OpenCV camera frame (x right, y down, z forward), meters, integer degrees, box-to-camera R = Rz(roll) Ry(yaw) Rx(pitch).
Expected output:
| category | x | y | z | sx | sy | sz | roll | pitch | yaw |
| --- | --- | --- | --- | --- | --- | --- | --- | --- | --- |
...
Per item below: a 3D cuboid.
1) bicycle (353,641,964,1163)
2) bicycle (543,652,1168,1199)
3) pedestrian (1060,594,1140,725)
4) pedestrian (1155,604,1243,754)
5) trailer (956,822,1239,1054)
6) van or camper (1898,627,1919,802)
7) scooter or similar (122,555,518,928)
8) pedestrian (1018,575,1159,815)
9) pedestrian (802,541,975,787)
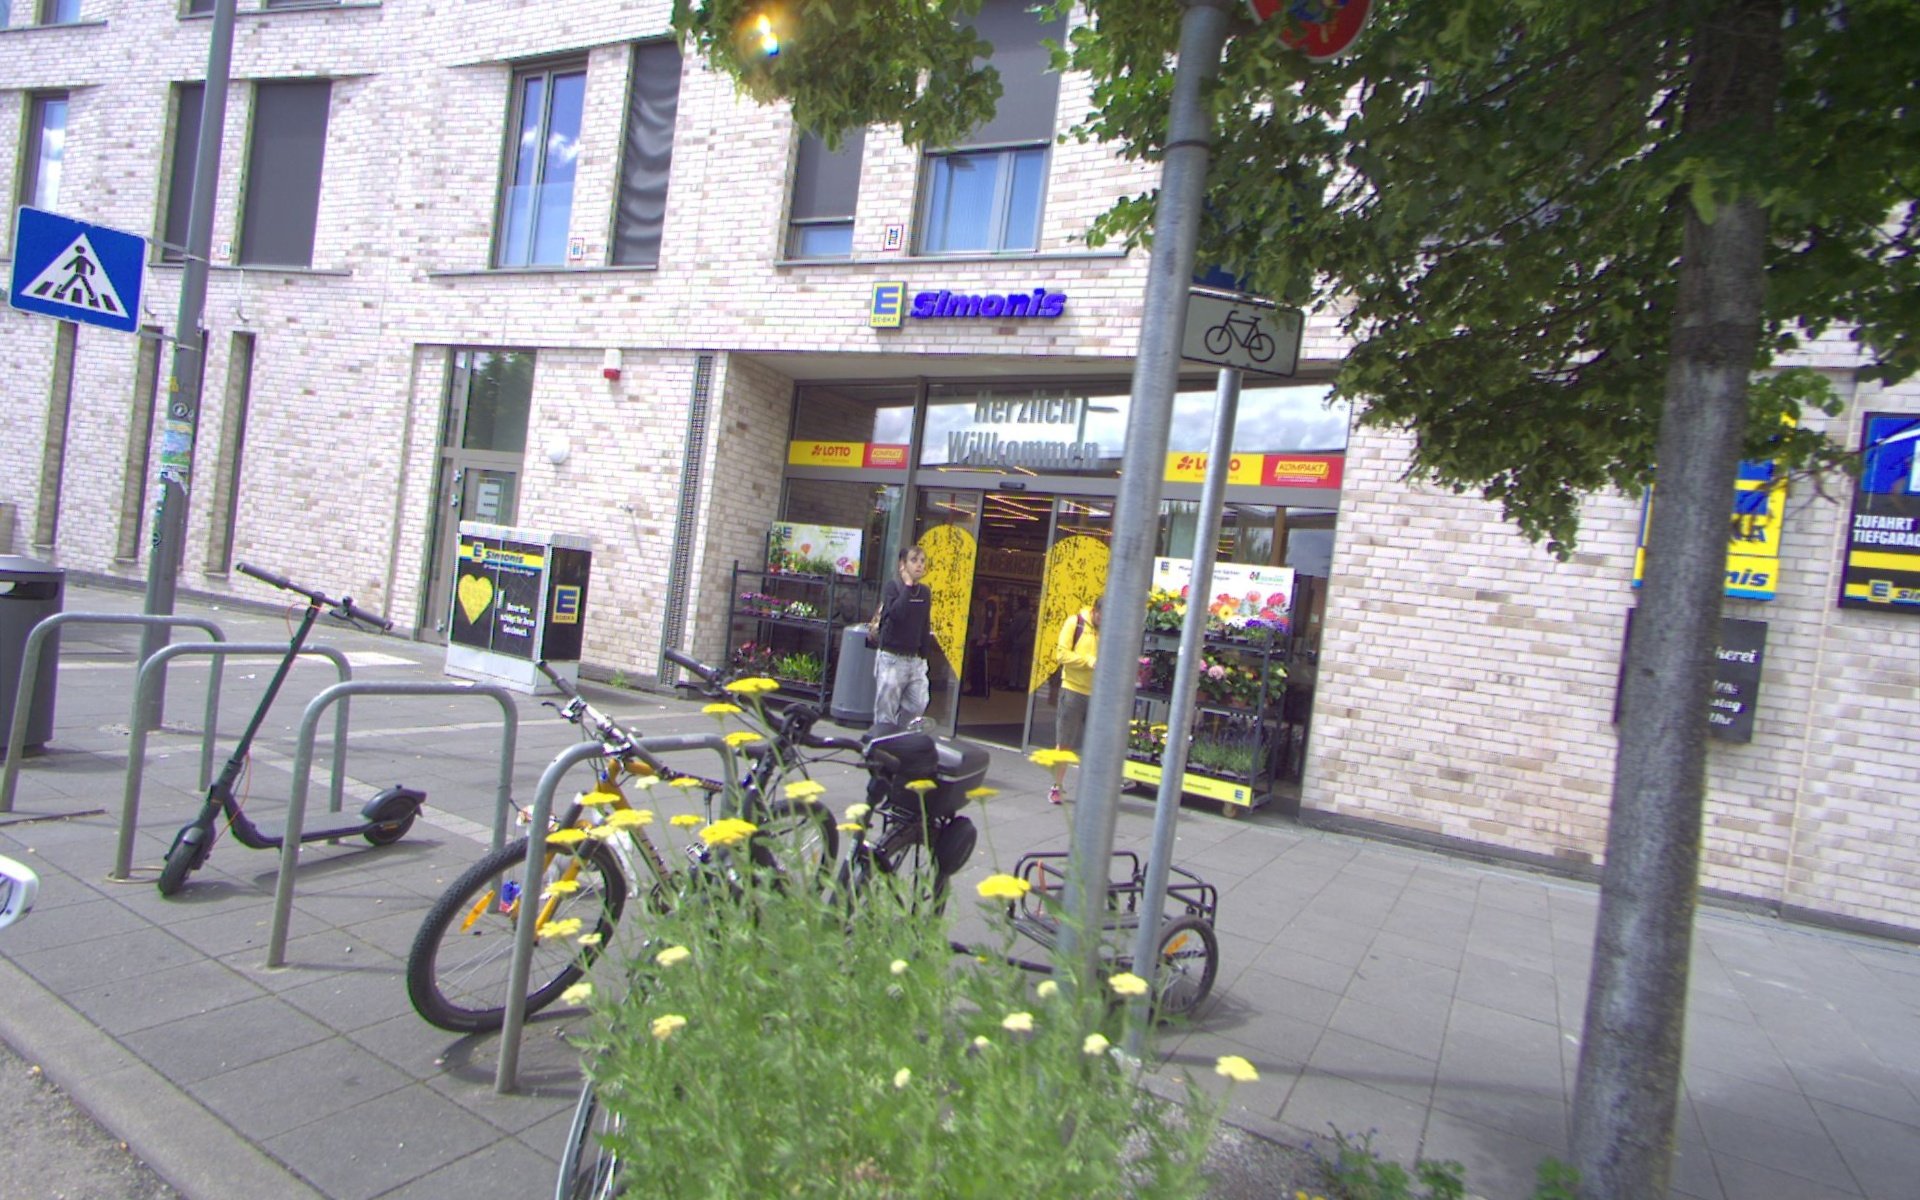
| category | x | y | z | sx | sy | sz | roll | pitch | yaw |
| --- | --- | --- | --- | --- | --- | --- | --- | --- | --- |
| bicycle | -0.820 | 0.764 | 3.322 | 0.744 | 1.146 | 1.824 | 7 | 1 | 31 |
| bicycle | -0.123 | 0.807 | 2.896 | 0.744 | 1.216 | 1.824 | 7 | 1 | 31 |
| pedestrian | 1.946 | 0.831 | 14.002 | 0.650 | 1.714 | 0.679 | 7 | 1 | 42 |
| pedestrian | 2.975 | 0.977 | 12.488 | 0.727 | 1.747 | 0.661 | 6 | -1 | 31 |
| trailer | 0.540 | 1.243 | 3.878 | 0.799 | 0.535 | 0.720 | 7 | -1 | 35 |
| van or camper | 15.083 | 1.785 | 13.622 | 2.241 | 2.771 | 6.853 | 5 | 1 | 34 |
| scooter or similar | -2.541 | 0.517 | 4.110 | 0.485 | 1.265 | 1.197 | 7 | 1 | 31 |
| pedestrian | 0.968 | 0.707 | 7.662 | 0.651 | 1.714 | 0.628 | 6 | 1 | -25 |
| pedestrian | -0.567 | 0.483 | 8.013 | 1.000 | 1.763 | 0.658 | 7 | 1 | 30 |
